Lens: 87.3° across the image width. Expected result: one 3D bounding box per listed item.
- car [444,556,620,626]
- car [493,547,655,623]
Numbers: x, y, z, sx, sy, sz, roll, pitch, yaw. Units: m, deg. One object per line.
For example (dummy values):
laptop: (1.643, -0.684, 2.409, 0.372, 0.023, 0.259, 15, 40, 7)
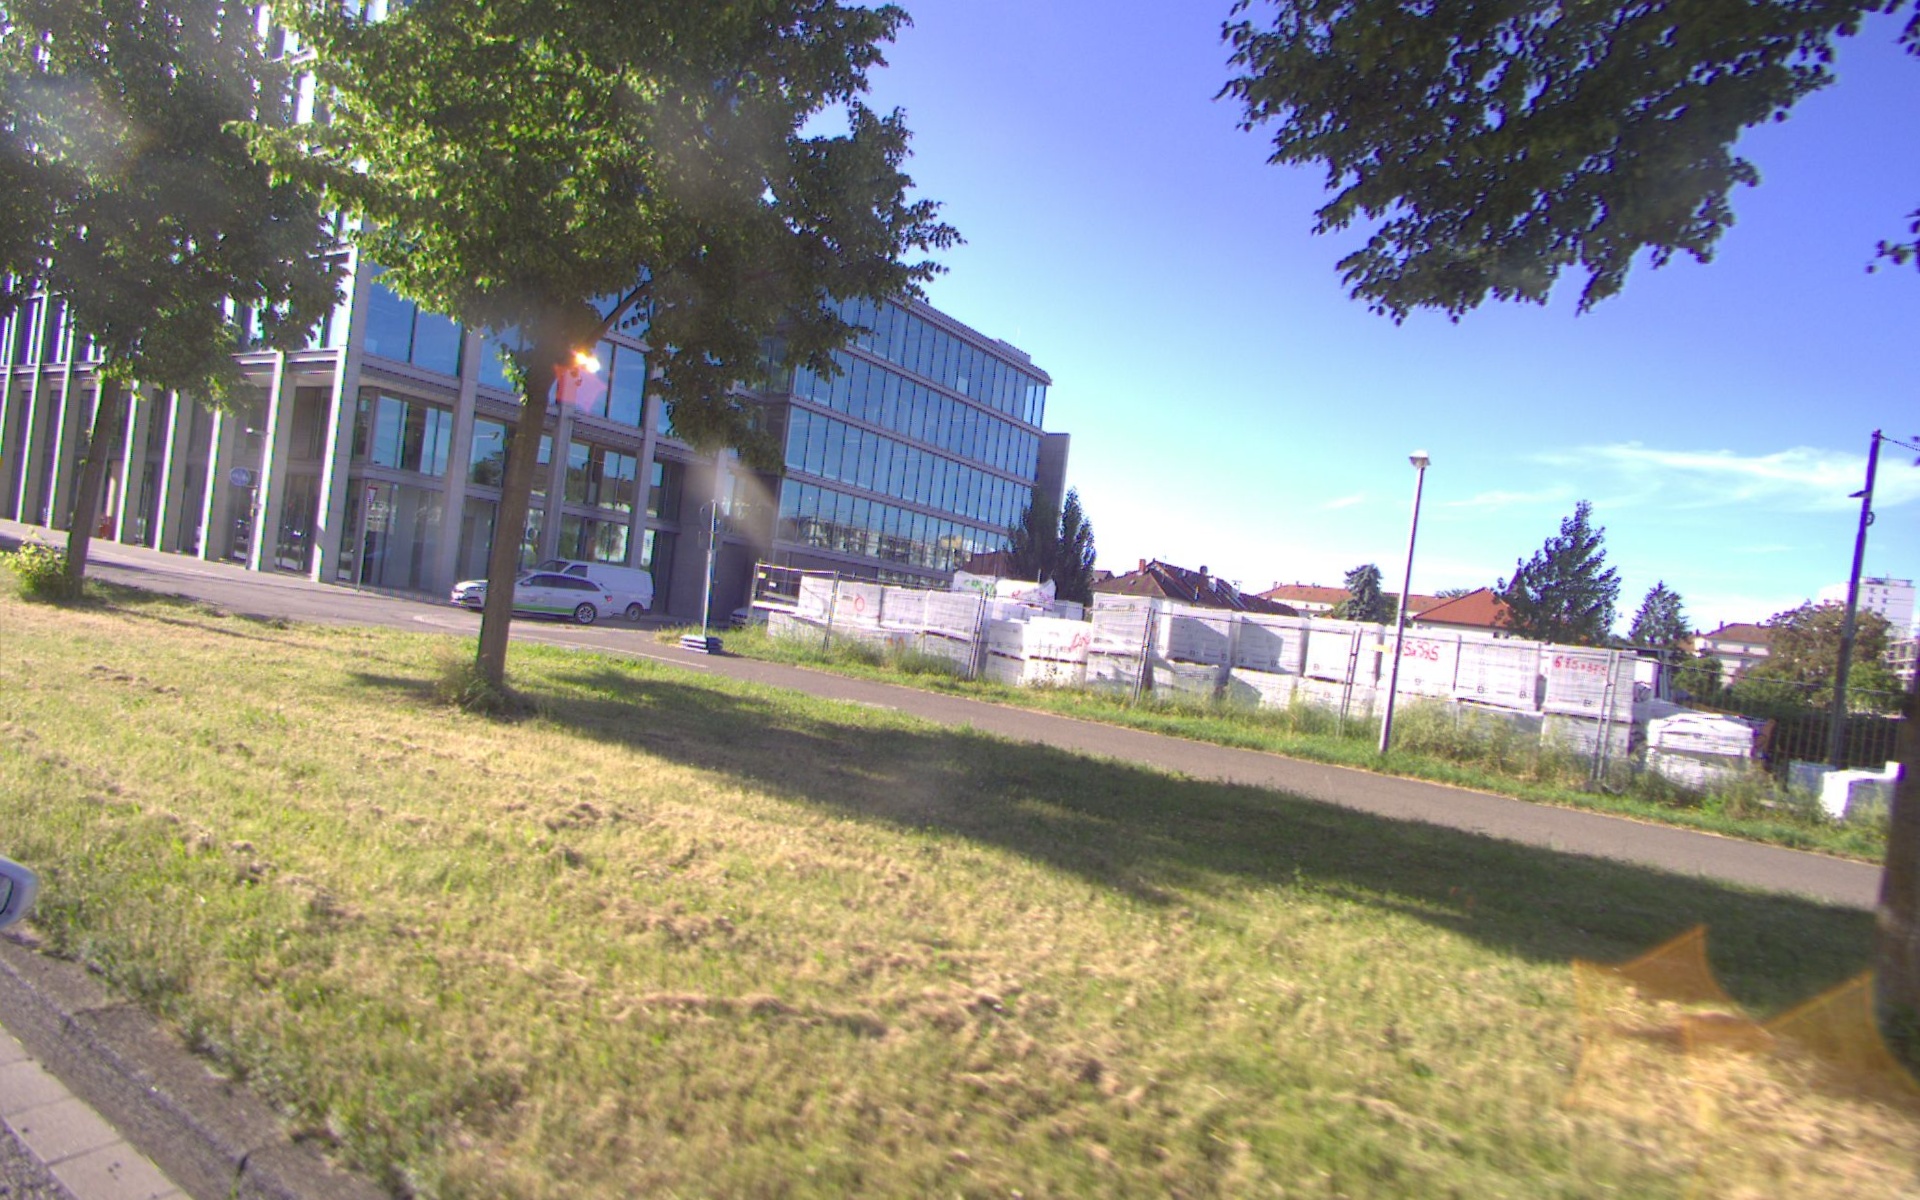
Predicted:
car: (-12.951, -0.246, 30.648, 1.751, 1.408, 4.507, 5, -5, 44)
car: (-13.640, -0.473, 35.870, 1.907, 2.005, 5.071, 7, -1, 34)
